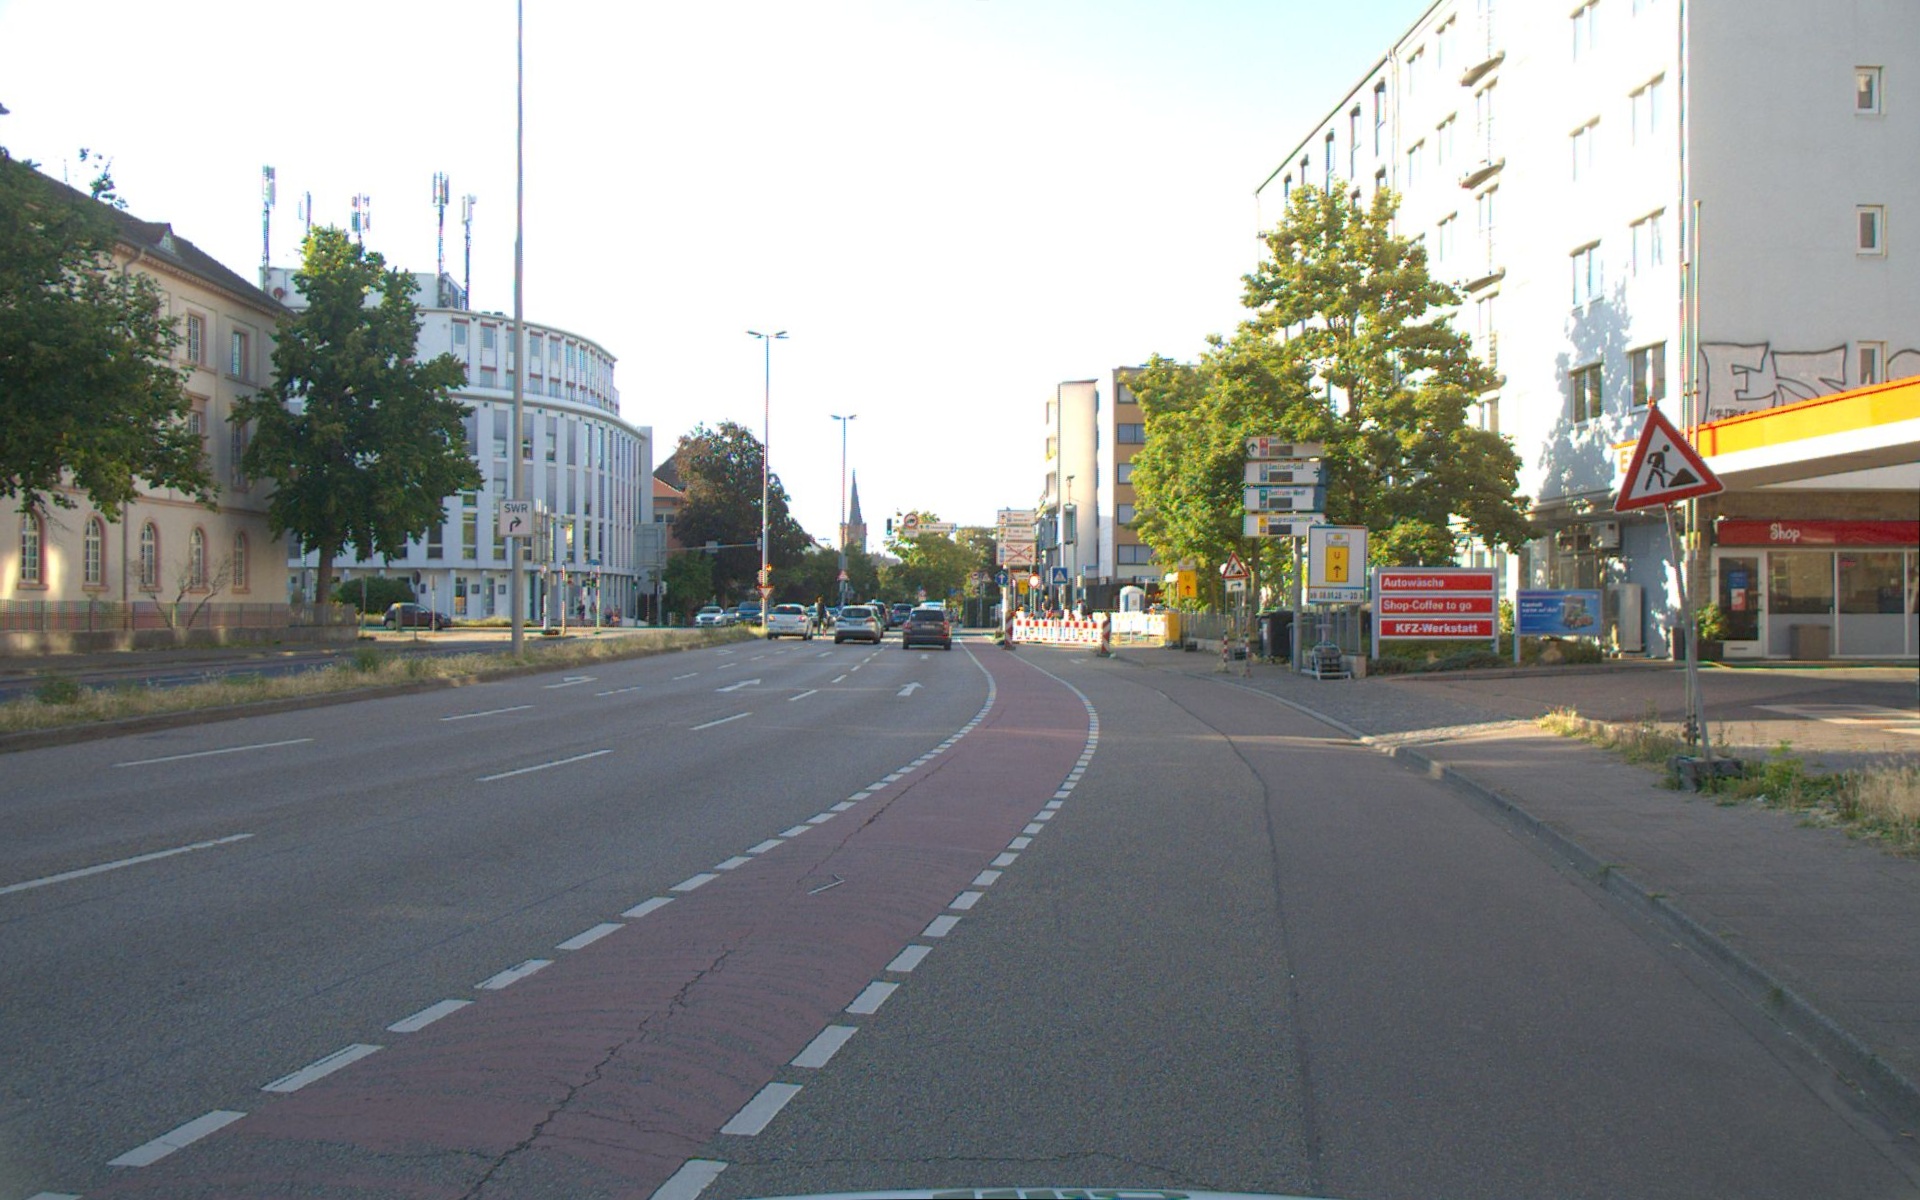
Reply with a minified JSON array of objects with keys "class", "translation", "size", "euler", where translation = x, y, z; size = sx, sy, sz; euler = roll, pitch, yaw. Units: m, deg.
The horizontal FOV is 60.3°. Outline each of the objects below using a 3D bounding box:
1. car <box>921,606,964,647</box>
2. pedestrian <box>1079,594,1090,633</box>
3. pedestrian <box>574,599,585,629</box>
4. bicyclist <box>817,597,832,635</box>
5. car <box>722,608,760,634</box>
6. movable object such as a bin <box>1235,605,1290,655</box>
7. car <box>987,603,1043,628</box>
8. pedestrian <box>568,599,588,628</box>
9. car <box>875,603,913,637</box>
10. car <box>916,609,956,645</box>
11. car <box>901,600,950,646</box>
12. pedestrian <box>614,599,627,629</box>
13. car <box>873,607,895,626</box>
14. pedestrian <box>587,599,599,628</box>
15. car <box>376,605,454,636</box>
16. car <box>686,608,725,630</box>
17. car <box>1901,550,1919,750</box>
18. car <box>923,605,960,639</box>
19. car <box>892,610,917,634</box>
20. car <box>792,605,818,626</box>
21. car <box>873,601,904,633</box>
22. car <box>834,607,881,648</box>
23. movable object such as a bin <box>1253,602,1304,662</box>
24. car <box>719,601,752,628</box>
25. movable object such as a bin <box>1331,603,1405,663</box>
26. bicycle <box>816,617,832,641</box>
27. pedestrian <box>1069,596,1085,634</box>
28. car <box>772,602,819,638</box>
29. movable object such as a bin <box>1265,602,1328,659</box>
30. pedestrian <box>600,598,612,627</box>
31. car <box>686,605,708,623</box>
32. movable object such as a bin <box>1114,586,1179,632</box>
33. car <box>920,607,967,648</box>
[{"class":"car","translation":[-0.716,1.165,70.758],"size":[1.692,1.630,3.723],"euler":[-2,-2,1]},{"class":"pedestrian","translation":[6.076,0.659,80.844],"size":[0.509,1.901,0.615],"euler":[0,-1,7]},{"class":"pedestrian","translation":[-24.737,0.914,107.497],"size":[0.649,1.891,0.776],"euler":[0,-1,-14]},{"class":"bicyclist","translation":[-6.254,0.729,76.157],"size":[0.677,1.758,0.987],"euler":[0,-1,-5]},{"class":"car","translation":[-13.757,1.304,104.136],"size":[1.953,1.606,4.897],"euler":[0,0,-2]},{"class":"movable object such as a bin","translation":[8.527,0.841,46.675],"size":[1.194,1.367,1.050],"euler":[0,-1,-17]},{"class":"car","translation":[4.324,1.210,129.811],"size":[4.276,1.910,1.999],"euler":[0,-1,-3]},{"class":"pedestrian","translation":[-27.313,0.969,118.259],"size":[1.068,2.049,1.036],"euler":[0,-1,9]},{"class":"car","translation":[-3.127,0.938,78.518],"size":[1.713,1.591,4.049],"euler":[0,0,-1]},{"class":"car","translation":[-1.061,1.208,74.926],"size":[1.692,1.606,3.723],"euler":[0,0,1]},{"class":"car","translation":[-1.217,0.809,58.929],"size":[1.713,1.591,4.049],"euler":[0,0,-1]},{"class":"pedestrian","translation":[-21.830,0.888,106.342],"size":[0.614,1.901,1.127],"euler":[0,-1,-1]},{"class":"car","translation":[-5.992,1.322,130.721],"size":[1.556,1.452,3.822],"euler":[0,0,-1]},{"class":"pedestrian","translation":[-23.889,0.854,107.681],"size":[0.745,1.874,0.816],"euler":[0,-1,-11]},{"class":"car","translation":[-29.957,1.127,90.995],"size":[3.734,1.557,1.861],"euler":[-1,-2,-5]},{"class":"car","translation":[-17.100,1.285,111.460],"size":[1.953,1.438,4.443],"euler":[-1,0,0]},{"class":"car","translation":[8.425,0.389,11.700],"size":[1.585,1.622,3.896],"euler":[0,-1,5]},{"class":"car","translation":[-0.976,1.110,84.995],"size":[1.783,1.669,3.998],"euler":[0,0,-2]},{"class":"car","translation":[-3.851,1.528,115.733],"size":[1.631,1.686,3.999],"euler":[0,0,-1]},{"class":"car","translation":[-11.375,1.124,121.459],"size":[1.811,1.487,4.046],"euler":[0,0,-4]},{"class":"car","translation":[-3.936,0.929,91.446],"size":[1.631,1.686,3.999],"euler":[0,0,-1]},{"class":"car","translation":[-4.070,1.077,66.039],"size":[1.713,1.591,4.049],"euler":[0,0,-1]},{"class":"movable object such as a bin","translation":[8.310,0.849,43.195],"size":[1.070,1.534,1.253],"euler":[0,-3,-1]},{"class":"car","translation":[-16.775,1.115,123.784],"size":[1.803,1.848,4.000],"euler":[-2,-2,1]},{"class":"movable object such as a bin","translation":[10.002,0.802,40.611],"size":[1.575,1.435,0.864],"euler":[0,-1,-3]},{"class":"bicycle","translation":[-6.268,1.333,76.355],"size":[0.686,1.119,2.256],"euler":[0,0,-4]},{"class":"pedestrian","translation":[5.685,0.707,80.122],"size":[0.725,1.831,0.715],"euler":[0,-1,1]},{"class":"car","translation":[-7.085,0.855,71.414],"size":[1.650,1.482,3.999],"euler":[1,0,0]},{"class":"movable object such as a bin","translation":[9.138,0.818,44.941],"size":[1.302,1.511,1.207],"euler":[0,-1,-11]},{"class":"pedestrian","translation":[-22.749,0.811,106.404],"size":[0.647,1.901,0.778],"euler":[0,-1,-3]},{"class":"car","translation":[-23.307,1.216,146.575],"size":[1.807,1.599,3.992],"euler":[0,0,-8]},{"class":"movable object such as a bin","translation":[9.896,0.495,87.951],"size":[3.261,2.425,1.528],"euler":[0,-1,-3]},{"class":"car","translation":[-0.642,1.121,66.692],"size":[1.719,1.516,3.723],"euler":[-2,-2,1]}]
